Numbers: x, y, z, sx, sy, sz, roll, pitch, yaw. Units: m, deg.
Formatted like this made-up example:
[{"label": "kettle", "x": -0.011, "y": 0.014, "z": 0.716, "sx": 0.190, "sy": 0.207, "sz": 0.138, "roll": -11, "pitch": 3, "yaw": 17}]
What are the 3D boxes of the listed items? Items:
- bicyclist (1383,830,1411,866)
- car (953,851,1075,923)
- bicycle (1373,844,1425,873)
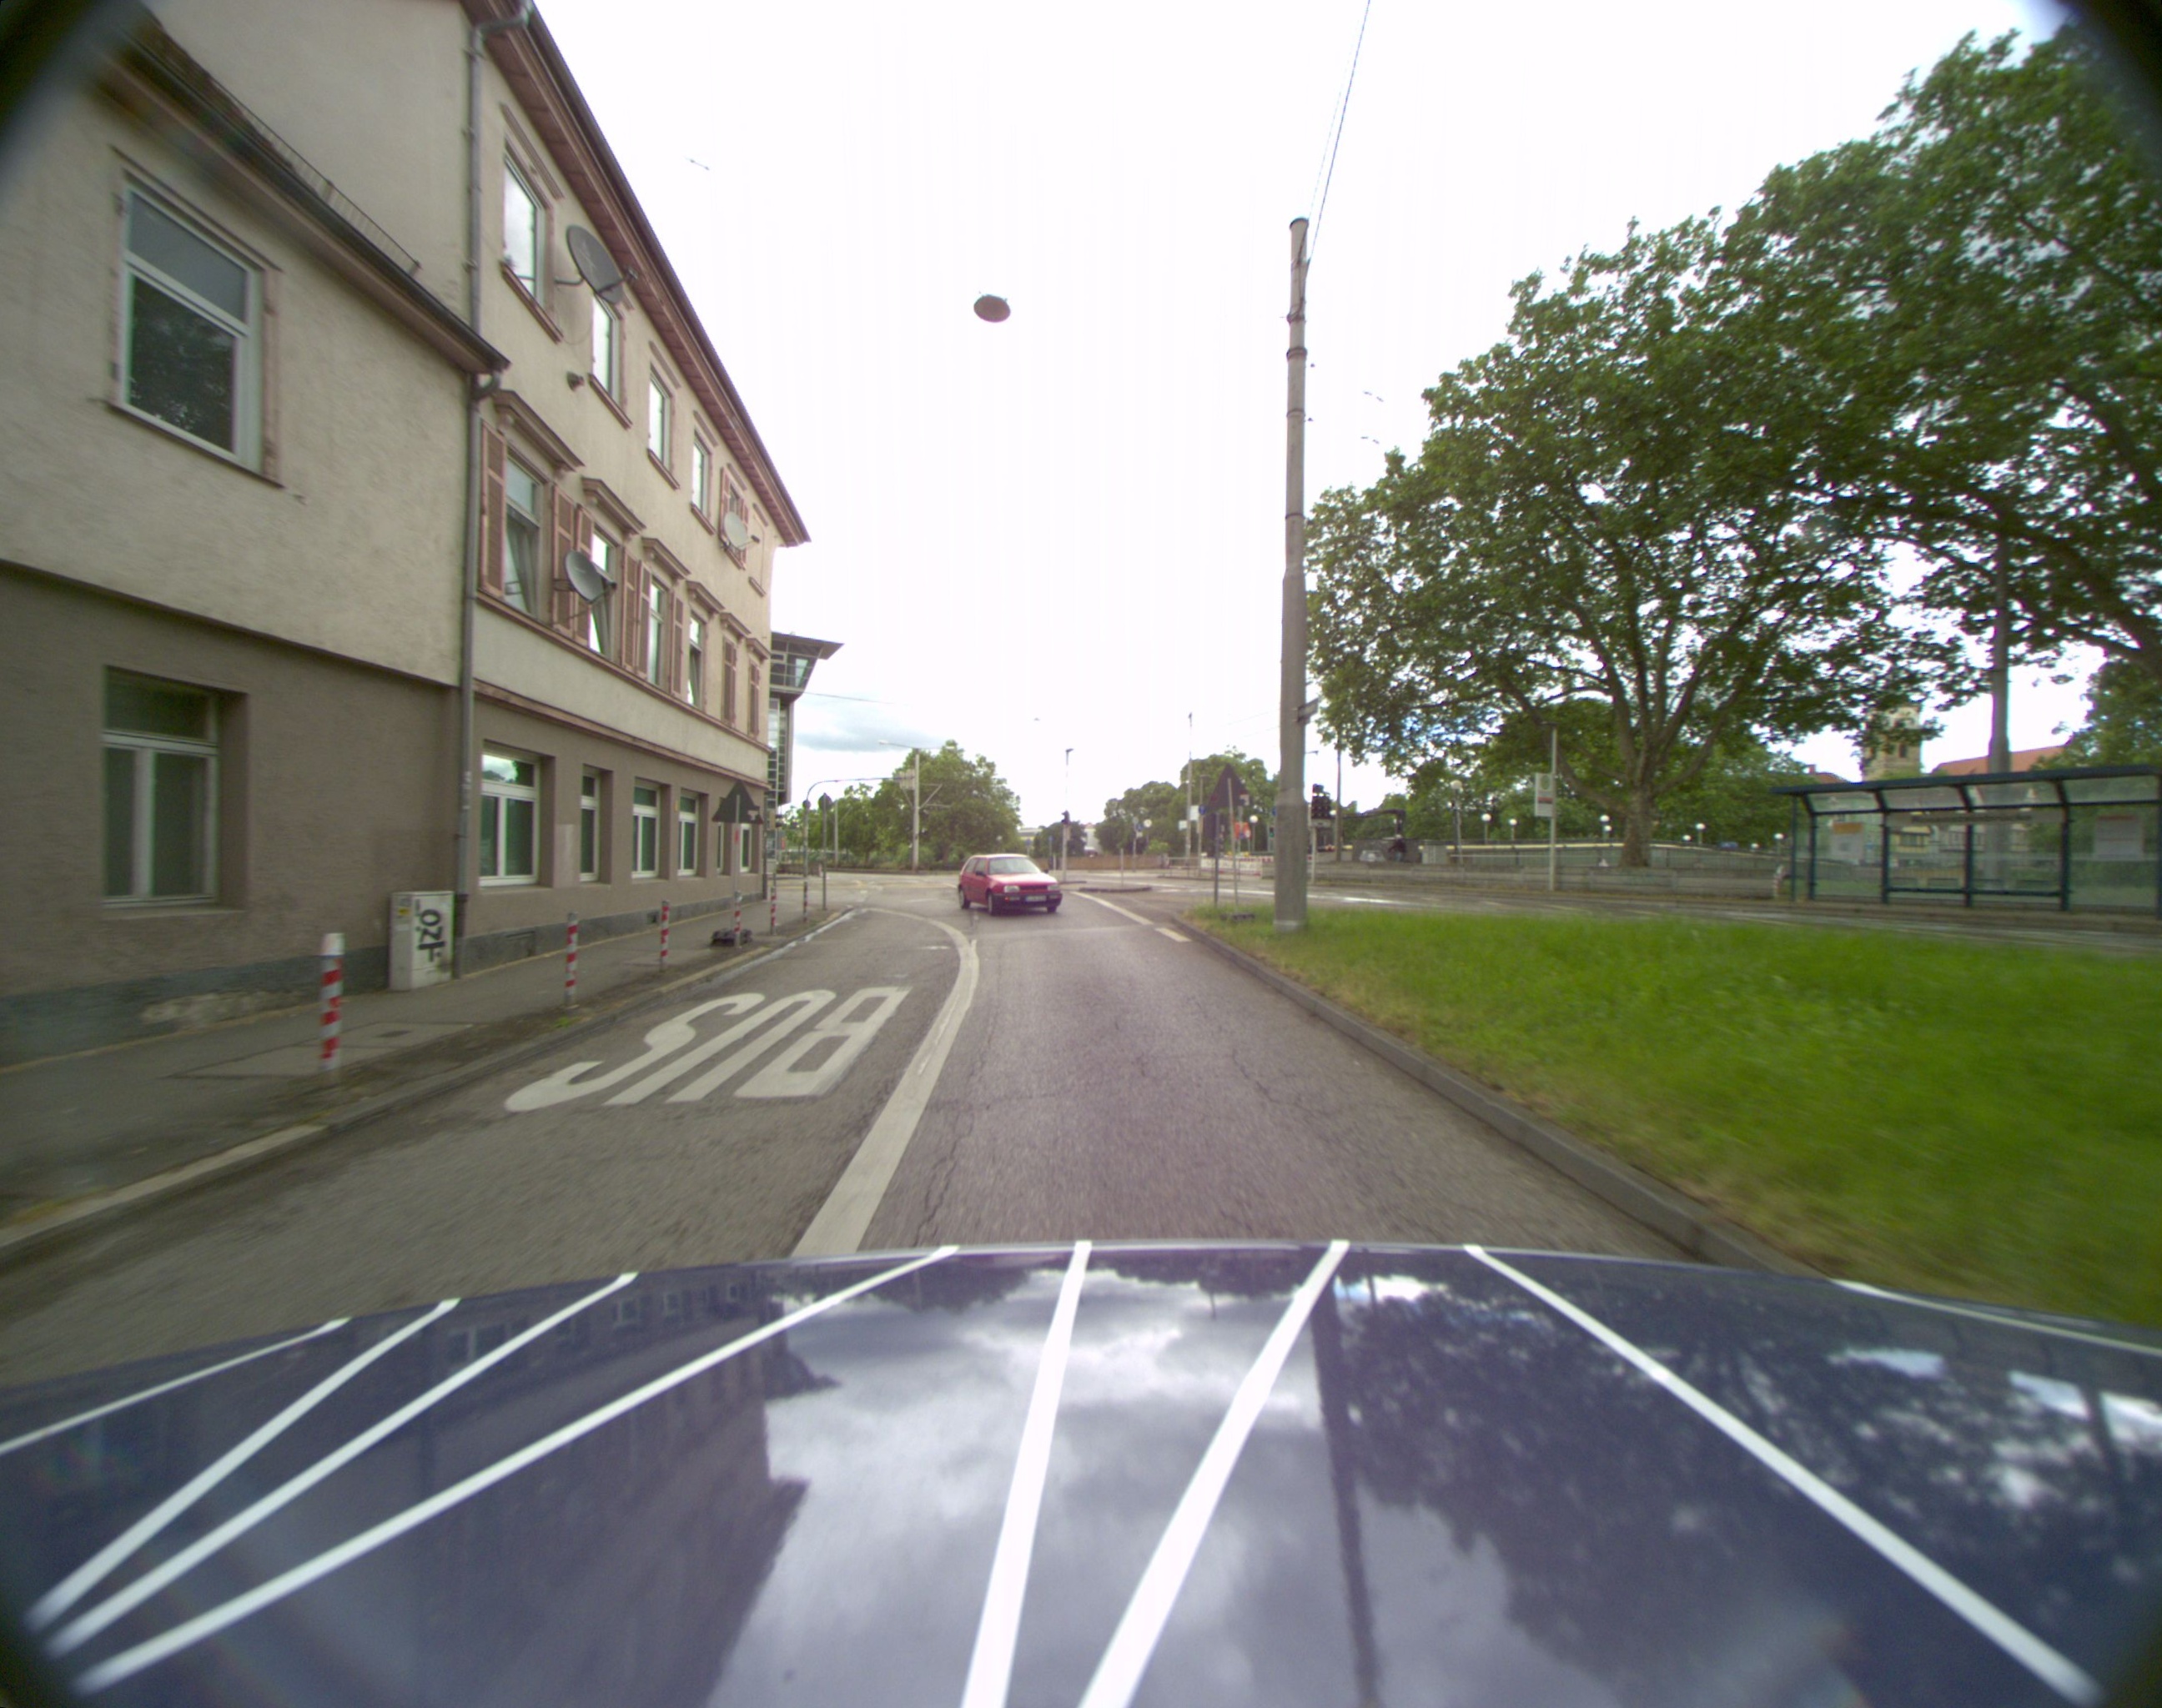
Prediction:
[{"label": "bicyclist", "x": 15.058, "y": -0.282, "z": 36.184, "sx": 0.643, "sy": 1.642, "sz": 1.006, "roll": -4, "pitch": 3, "yaw": -30}, {"label": "car", "x": -1.823, "y": 0.728, "z": 19.175, "sx": 1.853, "sy": 1.415, "sz": 4.164, "roll": -4, "pitch": 3, "yaw": -22}, {"label": "bicycle", "x": 15.099, "y": 0.200, "z": 36.152, "sx": 0.692, "sy": 1.271, "sz": 2.258, "roll": -4, "pitch": 3, "yaw": -31}]
